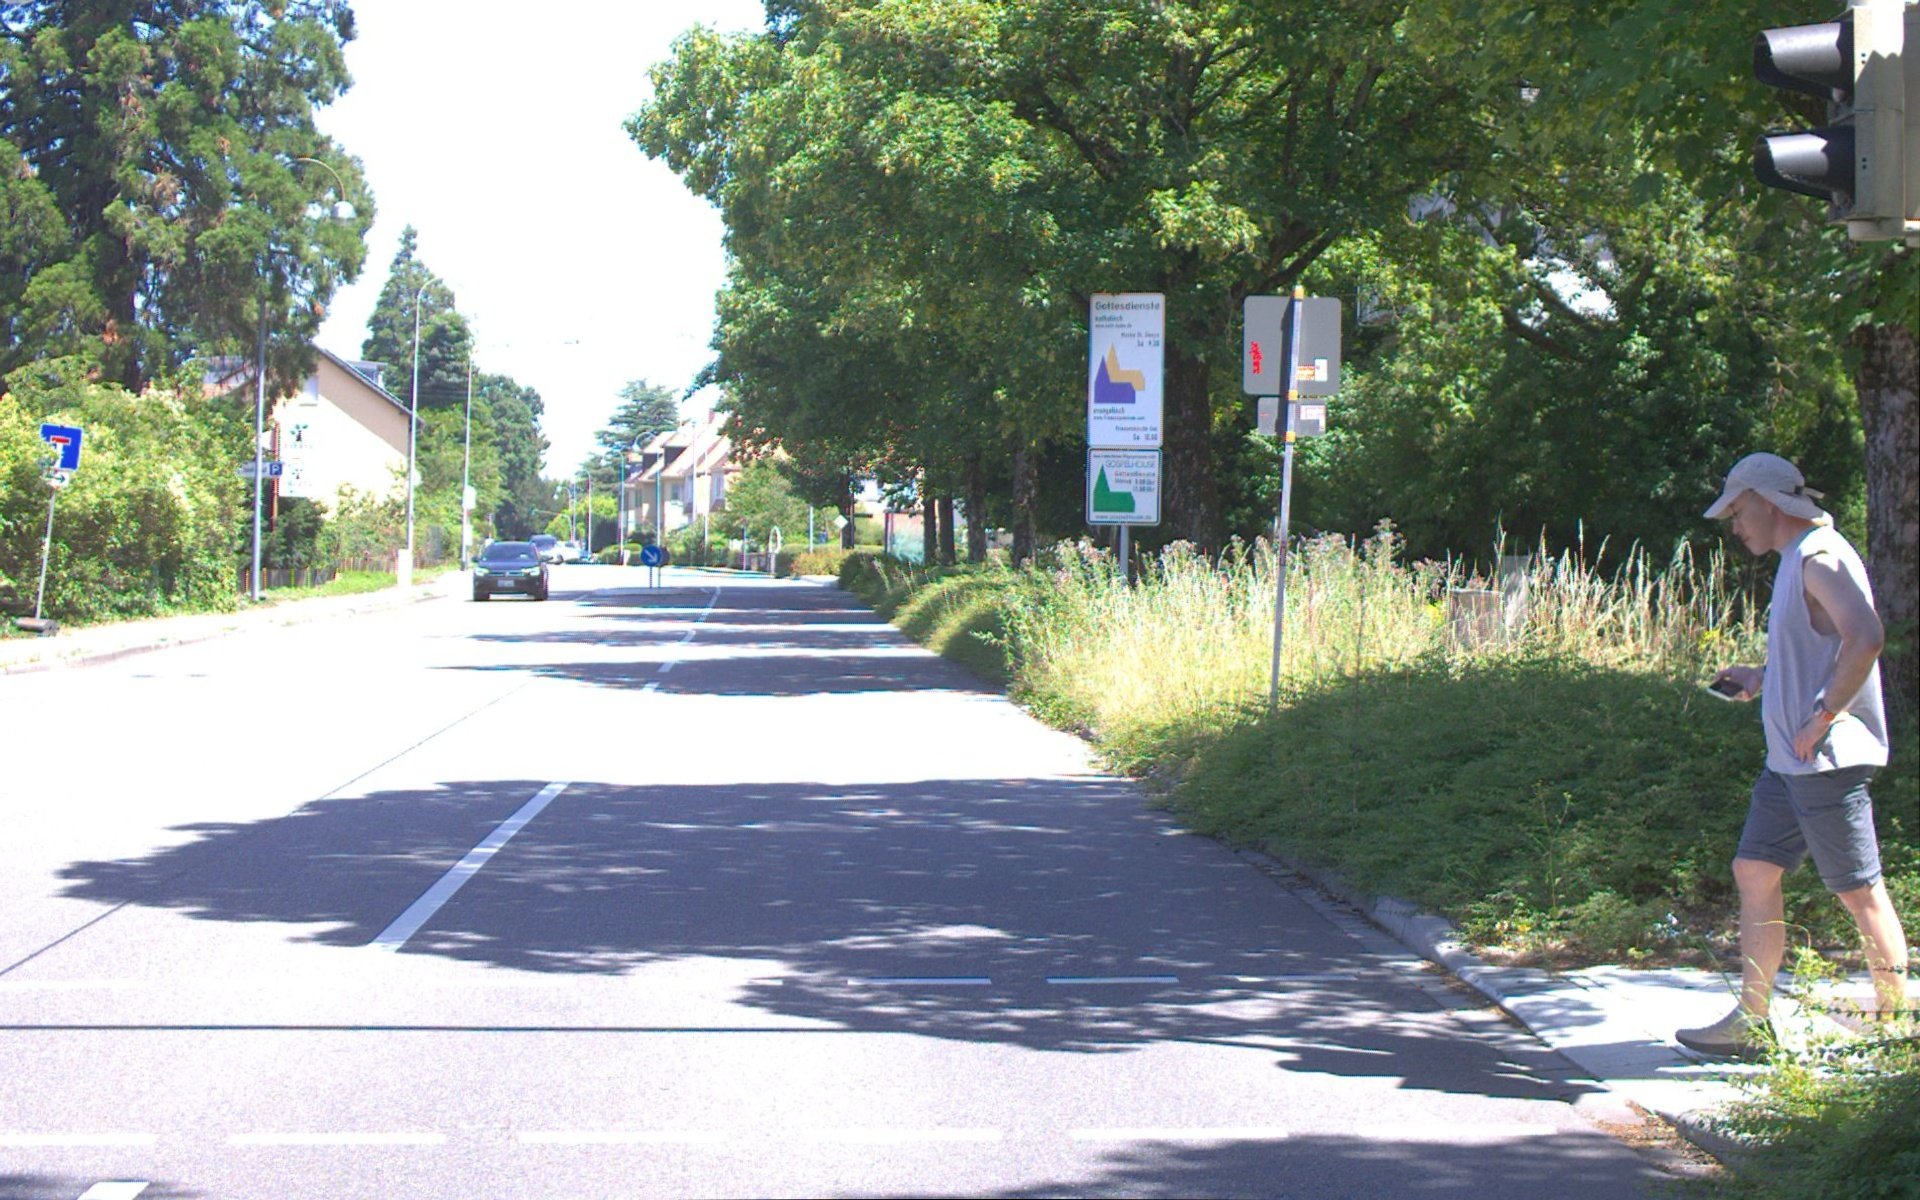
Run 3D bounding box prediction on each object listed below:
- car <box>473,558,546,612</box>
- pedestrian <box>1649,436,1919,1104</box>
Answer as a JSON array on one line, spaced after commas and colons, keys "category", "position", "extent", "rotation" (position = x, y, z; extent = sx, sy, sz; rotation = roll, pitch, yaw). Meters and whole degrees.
[{"category": "car", "position": [-11.386, -0.397, 87.113], "extent": [1.431, 1.318, 3.355], "rotation": [1, 1, -1]}, {"category": "pedestrian", "position": [2.317, 0.441, 9.385], "extent": [0.560, 1.745, 0.615], "rotation": [1, 0, -32]}]
